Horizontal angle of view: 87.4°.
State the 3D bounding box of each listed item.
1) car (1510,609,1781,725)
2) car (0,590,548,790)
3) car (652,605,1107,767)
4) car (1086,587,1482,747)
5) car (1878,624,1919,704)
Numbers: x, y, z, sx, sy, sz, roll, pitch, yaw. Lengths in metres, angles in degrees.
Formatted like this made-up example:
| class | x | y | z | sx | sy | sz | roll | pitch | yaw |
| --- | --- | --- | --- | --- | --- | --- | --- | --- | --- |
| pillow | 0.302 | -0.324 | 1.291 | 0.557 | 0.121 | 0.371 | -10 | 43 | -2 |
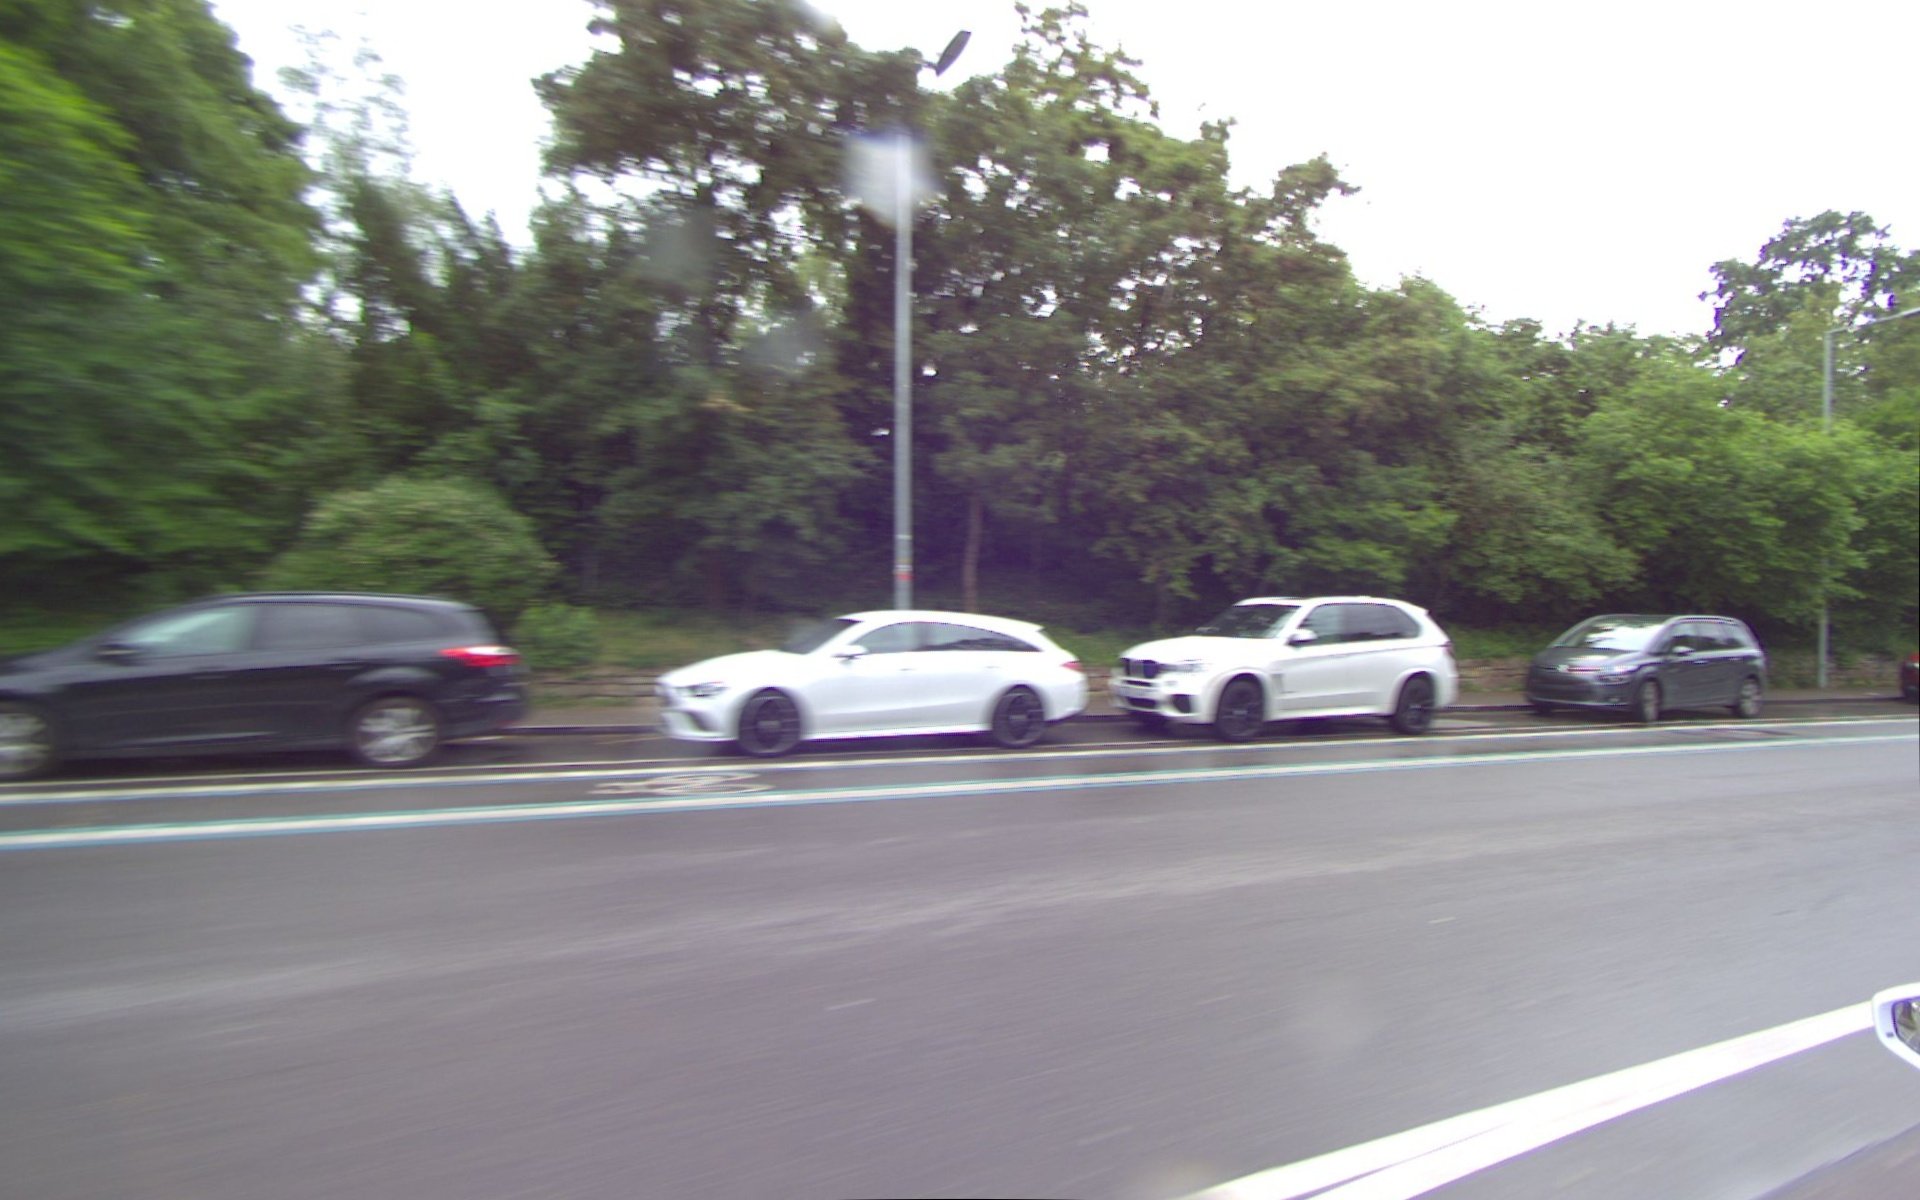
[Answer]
| class | x | y | z | sx | sy | sz | roll | pitch | yaw |
| --- | --- | --- | --- | --- | --- | --- | --- | --- | --- |
| car | 11.272 | 1.028 | 16.472 | 4.512 | 1.671 | 1.725 | 1 | 0 | -27 |
| car | -6.080 | 0.691 | 8.774 | 4.519 | 1.464 | 1.746 | 1 | 0 | -22 |
| car | -0.843 | 0.831 | 10.937 | 4.642 | 1.480 | 1.714 | 1 | 0 | -24 |
| car | 4.272 | 0.800 | 13.178 | 4.892 | 1.789 | 1.988 | 1 | 0 | -25 |
| car | 21.806 | 1.349 | 21.238 | 4.426 | 1.638 | 1.914 | 1 | -1 | -24 |
